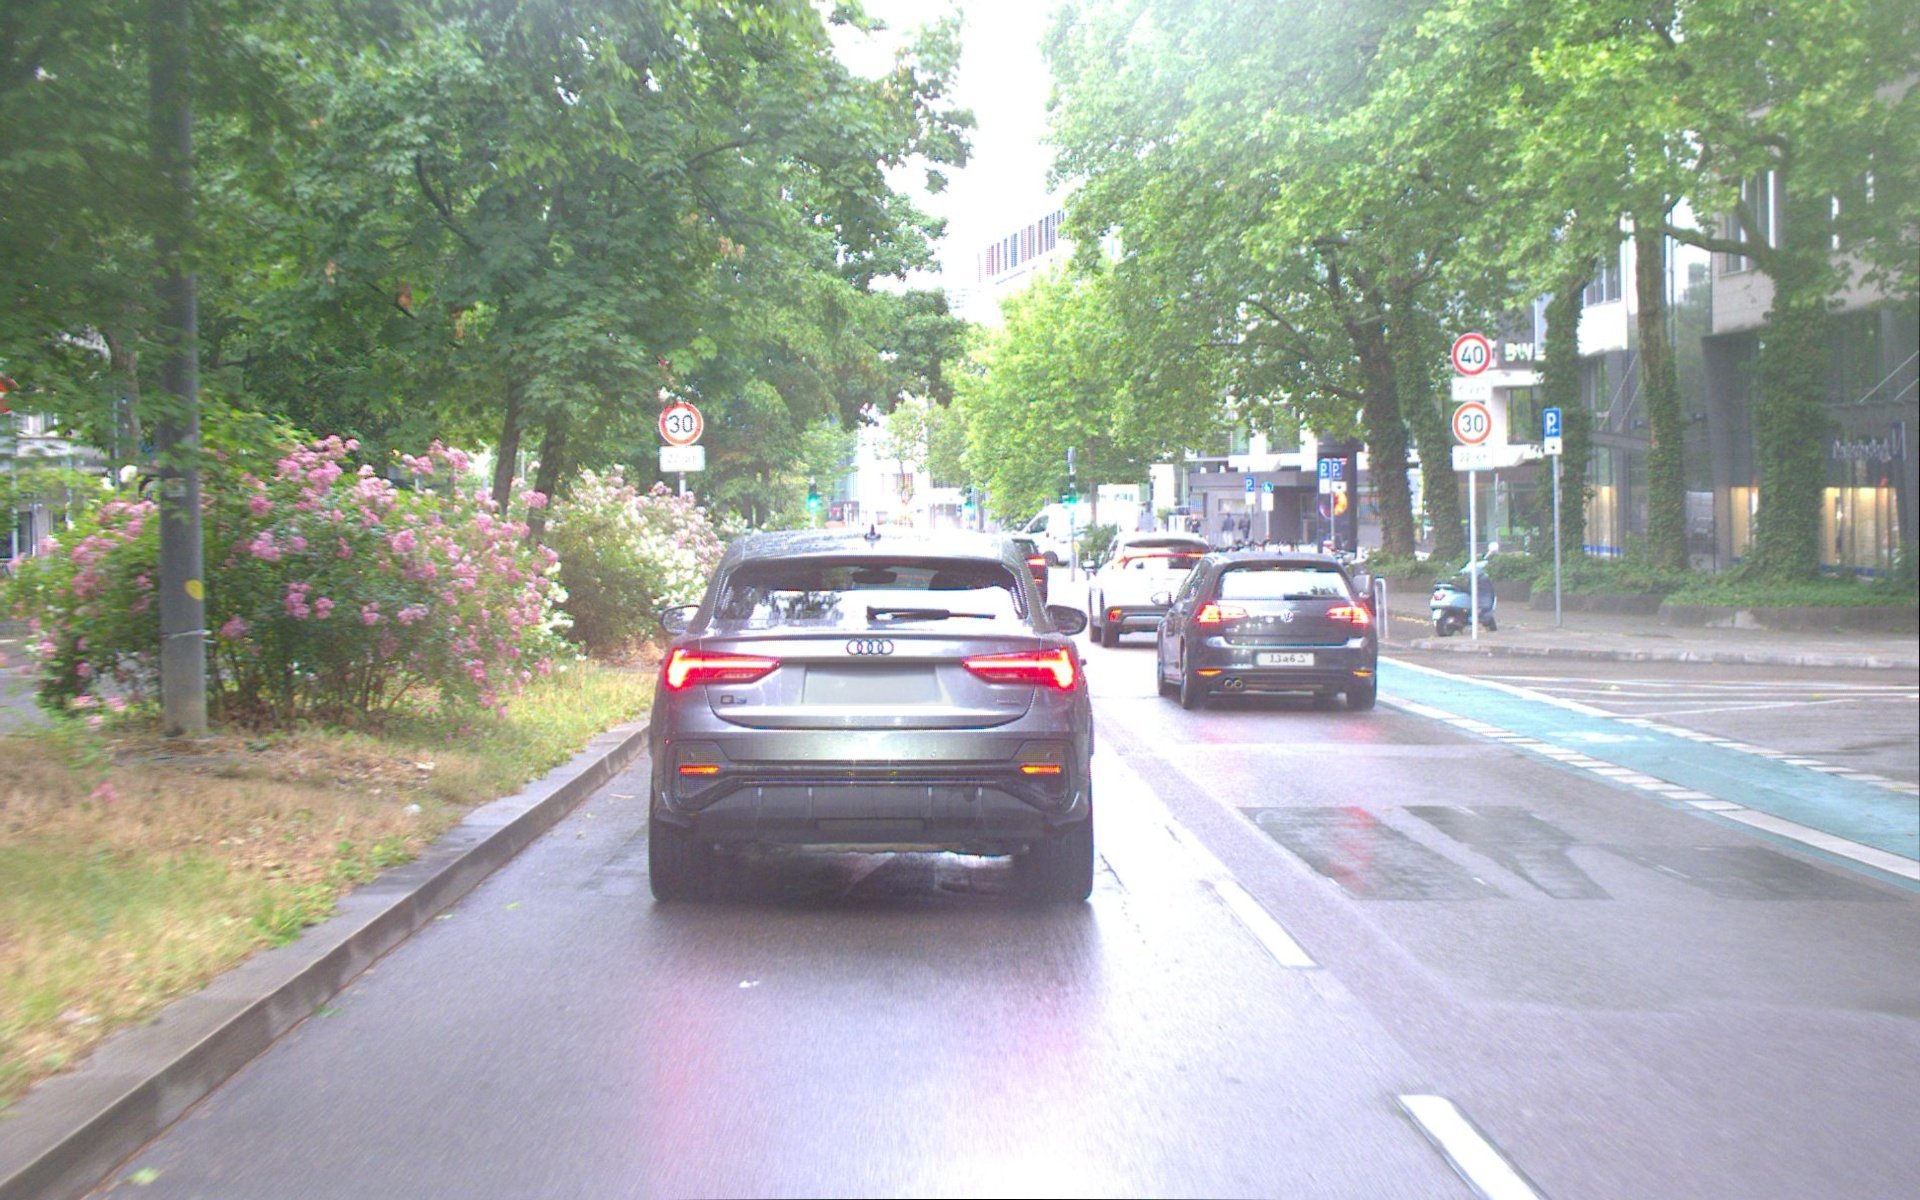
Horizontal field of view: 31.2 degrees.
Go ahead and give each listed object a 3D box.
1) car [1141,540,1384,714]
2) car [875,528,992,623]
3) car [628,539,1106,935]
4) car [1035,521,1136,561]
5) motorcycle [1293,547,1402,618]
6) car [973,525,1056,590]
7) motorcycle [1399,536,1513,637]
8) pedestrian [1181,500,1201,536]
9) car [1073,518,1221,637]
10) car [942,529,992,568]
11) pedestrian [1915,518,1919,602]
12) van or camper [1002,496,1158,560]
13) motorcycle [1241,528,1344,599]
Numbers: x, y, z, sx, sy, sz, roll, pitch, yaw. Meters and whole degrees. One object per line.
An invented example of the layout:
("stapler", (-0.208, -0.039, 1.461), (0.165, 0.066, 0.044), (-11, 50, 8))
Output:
("car", (2.770, 0.199, 32.304), (1.849, 1.518, 4.039), (0, 1, -1))
("car", (-0.461, -0.432, 56.749), (1.849, 1.518, 4.039), (0, 1, -1))
("car", (-0.425, 0.496, 15.339), (1.849, 1.518, 4.039), (0, 1, -2))
("car", (4.934, -2.336, 135.088), (3.652, 1.542, 1.713), (1, 1, 18))
("motorcycle", (7.242, -0.327, 64.209), (2.054, 1.208, 0.685), (-4, 1, -36))
("car", (1.275, -1.031, 82.237), (1.849, 1.518, 4.039), (0, 1, -1))
("motorcycle", (7.332, -0.208, 50.757), (0.684, 1.362, 1.941), (-3, 1, 39))
("pedestrian", (10.961, -3.891, 163.079), (0.805, 1.690, 1.187), (0, 1, -2))
("car", (2.674, -0.356, 50.021), (1.849, 1.663, 4.039), (0, 1, -1))
("car", (0.261, -2.027, 134.119), (1.849, 1.518, 4.039), (0, 1, -1))
("pedestrian", (19.892, -0.824, 69.649), (0.728, 1.687, 0.826), (0, 2, 42))
("van or camper", (4.914, -2.934, 140.990), (6.074, 2.549, 2.102), (0, 1, 26))
("motorcycle", (6.866, -0.758, 70.963), (1.955, 1.369, 0.729), (-3, 3, -22))
